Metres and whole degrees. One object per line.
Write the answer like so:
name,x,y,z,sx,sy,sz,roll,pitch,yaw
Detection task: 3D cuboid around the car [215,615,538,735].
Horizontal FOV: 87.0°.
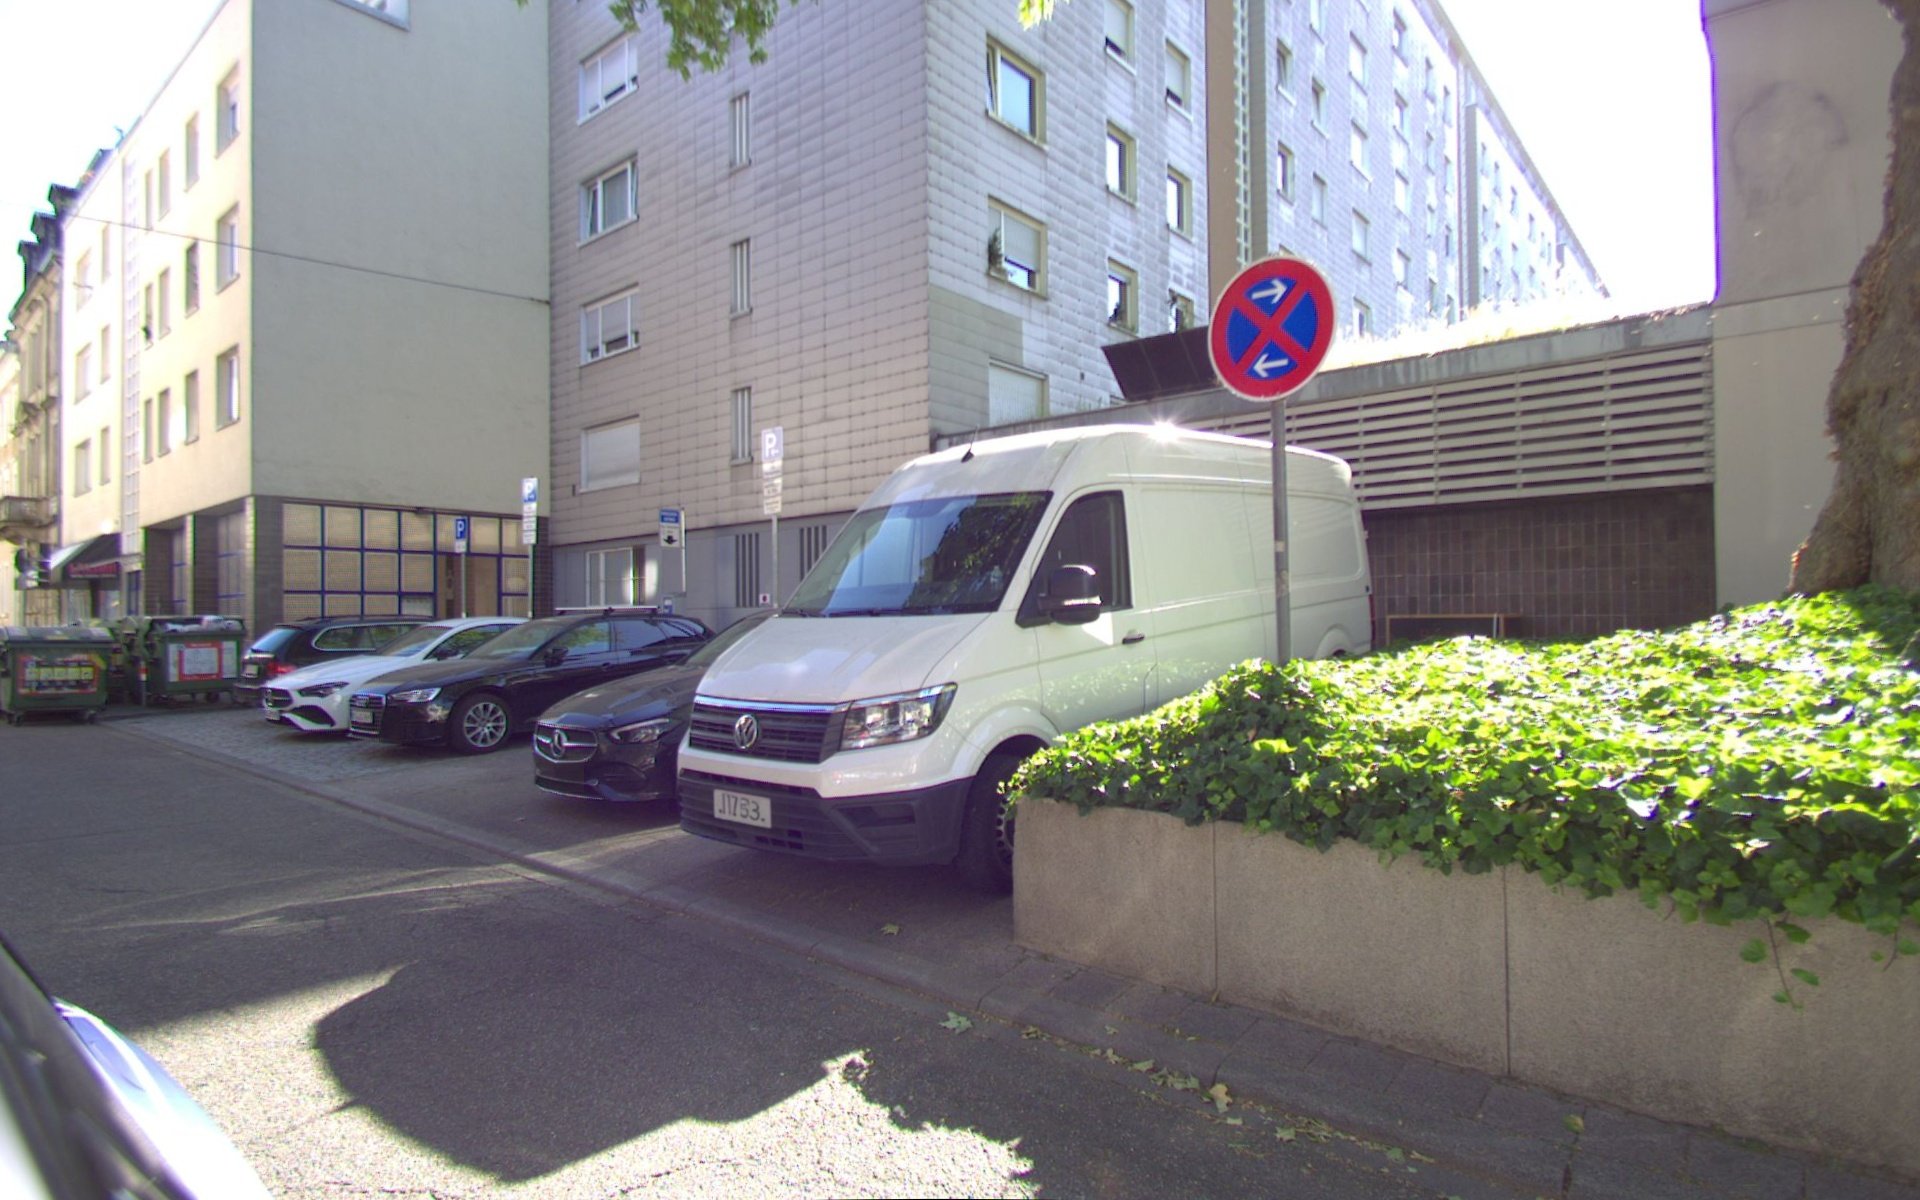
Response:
car,-8.637,1.010,15.241,1.825,1.516,3.837,-1,-1,39

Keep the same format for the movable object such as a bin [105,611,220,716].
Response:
movable object such as a bin,-13.270,1.018,16.852,1.171,1.665,1.217,-1,-1,34

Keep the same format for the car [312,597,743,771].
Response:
car,-4.978,0.822,12.231,1.913,1.622,4.424,-1,1,38

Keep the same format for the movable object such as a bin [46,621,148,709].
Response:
movable object such as a bin,-16.003,1.176,18.774,1.017,1.534,1.289,-1,-1,40

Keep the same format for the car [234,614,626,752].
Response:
car,-6.995,0.976,13.754,1.955,1.436,4.299,-1,0,39

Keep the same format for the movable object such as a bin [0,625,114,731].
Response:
movable object such as a bin,-13.560,1.109,15.042,1.115,1.462,1.288,-1,-1,37

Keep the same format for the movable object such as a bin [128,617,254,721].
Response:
movable object such as a bin,-12.300,1.055,16.204,1.118,1.561,1.341,-1,-1,34

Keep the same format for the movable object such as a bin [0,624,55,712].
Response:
movable object such as a bin,-16.870,1.190,17.771,1.002,1.498,1.335,-1,-1,40

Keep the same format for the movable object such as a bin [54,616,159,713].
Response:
movable object such as a bin,-15.259,1.111,18.104,1.017,1.633,1.281,-1,-1,40

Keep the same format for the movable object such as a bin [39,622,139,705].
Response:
movable object such as a bin,-16.789,1.188,19.511,1.156,1.510,1.292,-1,-1,40

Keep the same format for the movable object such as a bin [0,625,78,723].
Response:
movable object such as a bin,-15.272,1.174,16.404,1.081,1.502,1.321,-1,-1,40

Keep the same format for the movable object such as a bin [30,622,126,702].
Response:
movable object such as a bin,-17.664,1.204,20.270,1.178,1.509,1.283,-1,-1,40

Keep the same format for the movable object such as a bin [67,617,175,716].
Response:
movable object such as a bin,-14.439,1.106,17.426,1.081,1.616,1.275,-1,-1,40

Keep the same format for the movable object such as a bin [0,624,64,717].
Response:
movable object such as a bin,-16.096,1.180,17.084,1.017,1.510,1.330,-1,-1,40

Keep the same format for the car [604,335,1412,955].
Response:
car,1.067,0.059,7.415,2.145,2.574,6.669,-1,2,42

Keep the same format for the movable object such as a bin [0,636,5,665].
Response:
movable object such as a bin,-37.537,1.960,39.170,0.584,1.140,0.713,-1,-1,36

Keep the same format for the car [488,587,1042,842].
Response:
car,-1.407,0.733,8.795,1.928,1.481,4.453,-2,1,41

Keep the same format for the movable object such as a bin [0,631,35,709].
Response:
movable object such as a bin,-18.558,1.319,19.205,1.186,1.461,1.306,-1,-3,40

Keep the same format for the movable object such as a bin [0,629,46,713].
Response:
movable object such as a bin,-17.669,1.280,18.441,1.093,1.495,1.320,-1,-3,40

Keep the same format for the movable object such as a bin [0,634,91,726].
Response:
movable object such as a bin,-14.413,1.215,15.731,1.045,1.332,1.228,-1,-1,40
